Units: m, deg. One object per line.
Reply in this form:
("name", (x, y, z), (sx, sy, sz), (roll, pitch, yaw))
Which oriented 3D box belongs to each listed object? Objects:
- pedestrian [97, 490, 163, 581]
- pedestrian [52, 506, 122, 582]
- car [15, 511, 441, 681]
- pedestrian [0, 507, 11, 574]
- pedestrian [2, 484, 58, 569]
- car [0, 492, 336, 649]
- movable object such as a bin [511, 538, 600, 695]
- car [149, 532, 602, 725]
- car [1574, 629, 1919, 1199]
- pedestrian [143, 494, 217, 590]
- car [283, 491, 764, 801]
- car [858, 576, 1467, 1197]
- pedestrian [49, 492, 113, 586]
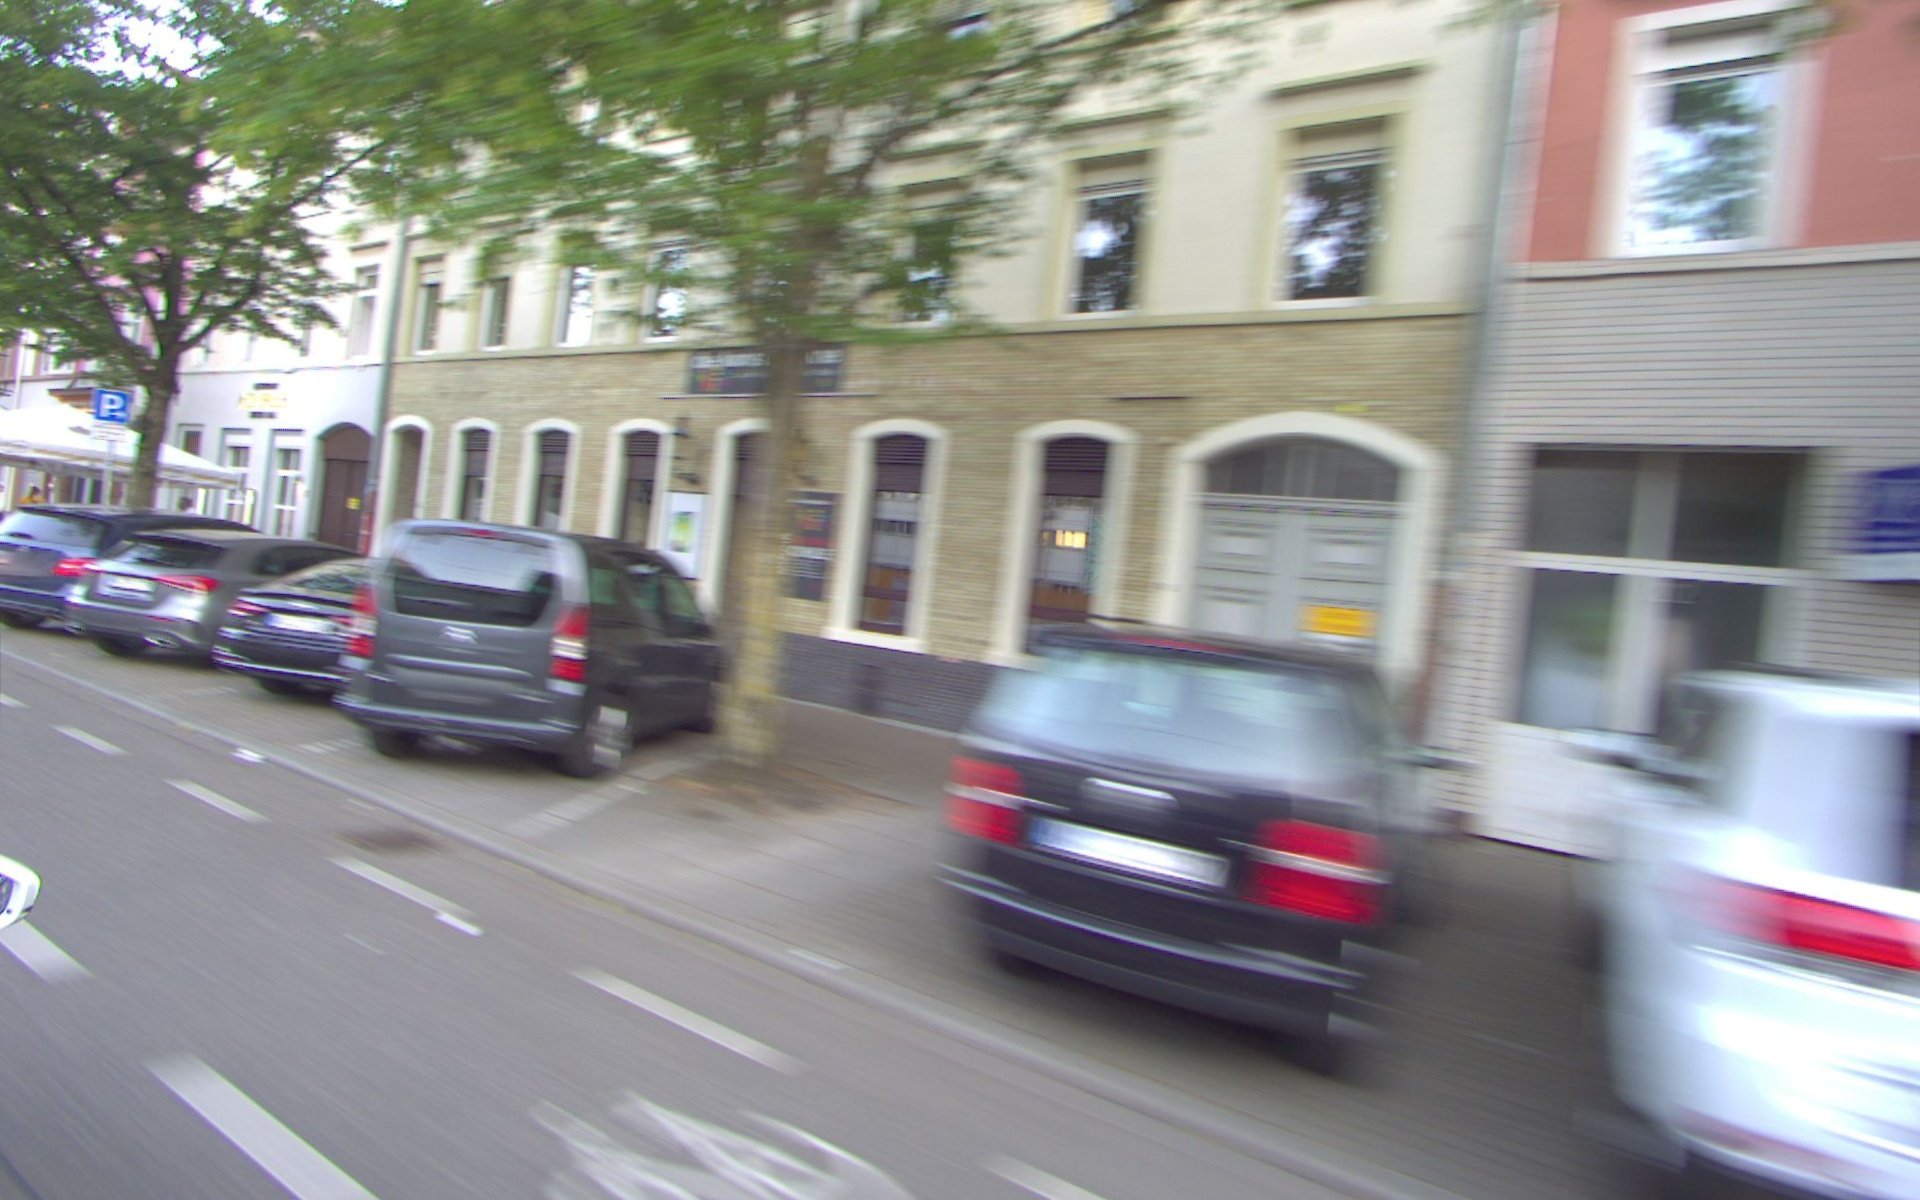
("pedestrian", (-17.507, -1.360, 21.222), (0.837, 1.783, 0.553), (7, -1, 20))
("pedestrian", (-16.778, -1.073, 19.351), (0.701, 1.321, 0.553), (7, -1, 5))
("car", (-7.938, -0.019, 11.418), (1.673, 1.425, 3.785), (7, 0, 7))
("pedestrian", (-19.268, -1.214, 19.835), (0.496, 1.307, 0.599), (7, -1, 34))
("pedestrian", (-20.809, -1.645, 22.507), (0.879, 1.783, 0.551), (7, -1, 32))
("car", (-10.127, -0.341, 12.611), (1.673, 1.572, 3.975), (7, 0, 7))
("movable object such as a bin", (-5.509, 0.232, 13.705), (0.684, 2.037, 0.614), (7, 0, 31))
("car", (-5.694, 0.230, 10.573), (1.772, 1.407, 4.323), (7, 1, 7))
("car", (3.629, 1.130, 3.850), (1.974, 1.710, 4.652), (7, 1, 31))
("pedestrian", (-15.695, -1.146, 20.264), (0.701, 1.783, 0.705), (7, -1, 5))
("car", (-3.313, 0.308, 8.725), (1.970, 1.829, 4.161), (7, 0, 4))
("car", (1.604, 0.957, 5.572), (1.972, 1.710, 4.656), (7, 1, 27))
("pedestrian", (-17.951, -1.244, 20.544), (0.702, 1.783, 0.553), (7, -1, 21))
